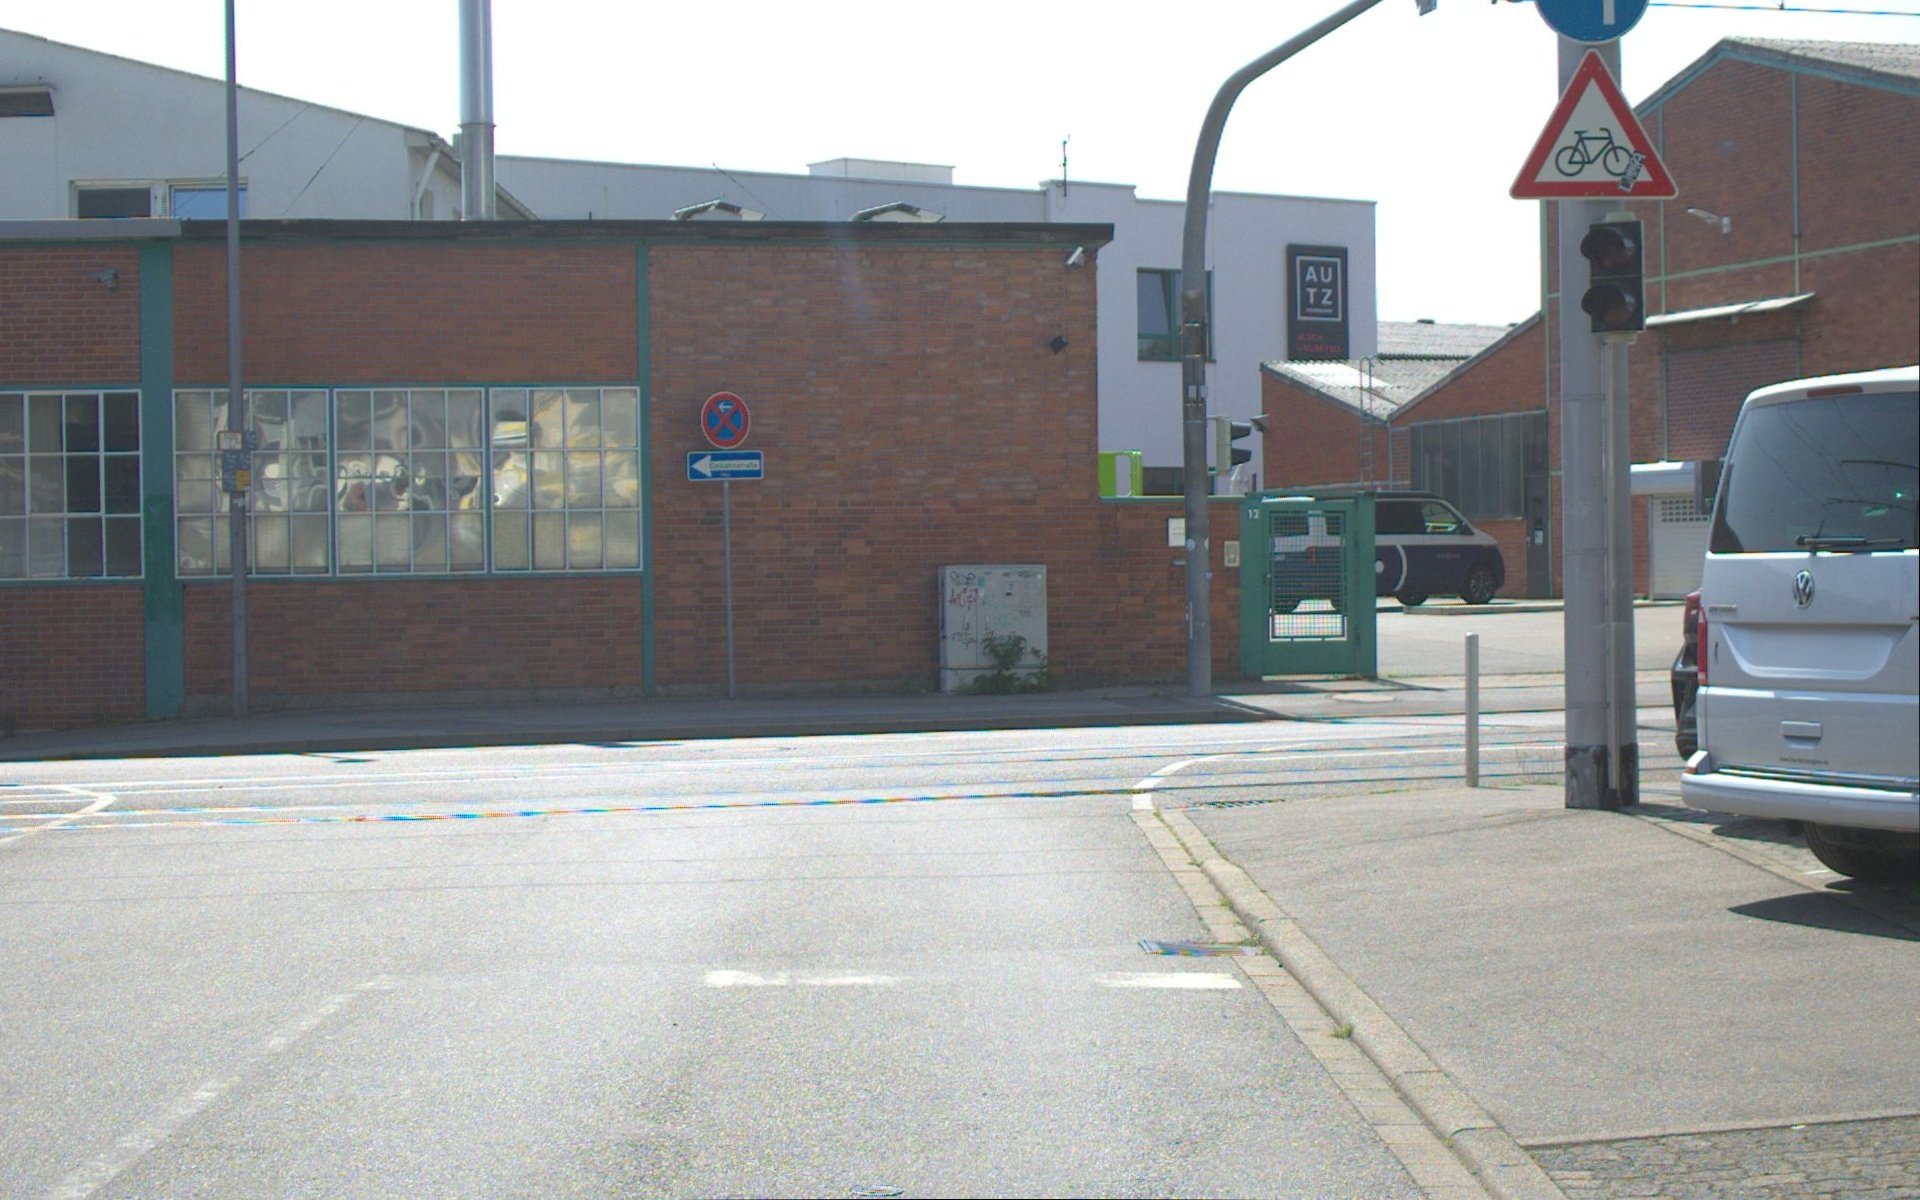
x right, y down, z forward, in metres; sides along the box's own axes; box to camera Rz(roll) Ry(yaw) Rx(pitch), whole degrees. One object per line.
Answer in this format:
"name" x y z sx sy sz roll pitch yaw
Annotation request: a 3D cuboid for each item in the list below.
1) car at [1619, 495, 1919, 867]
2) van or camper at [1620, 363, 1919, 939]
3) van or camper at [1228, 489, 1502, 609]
"car" 5.218 0.287 15.726 3.960 1.516 1.880 -1 1 -25
"van or camper" 4.997 0.113 12.933 4.540 1.901 2.001 -1 1 -20
"van or camper" 6.892 -0.845 58.341 4.408 1.894 2.000 1 0 -36
